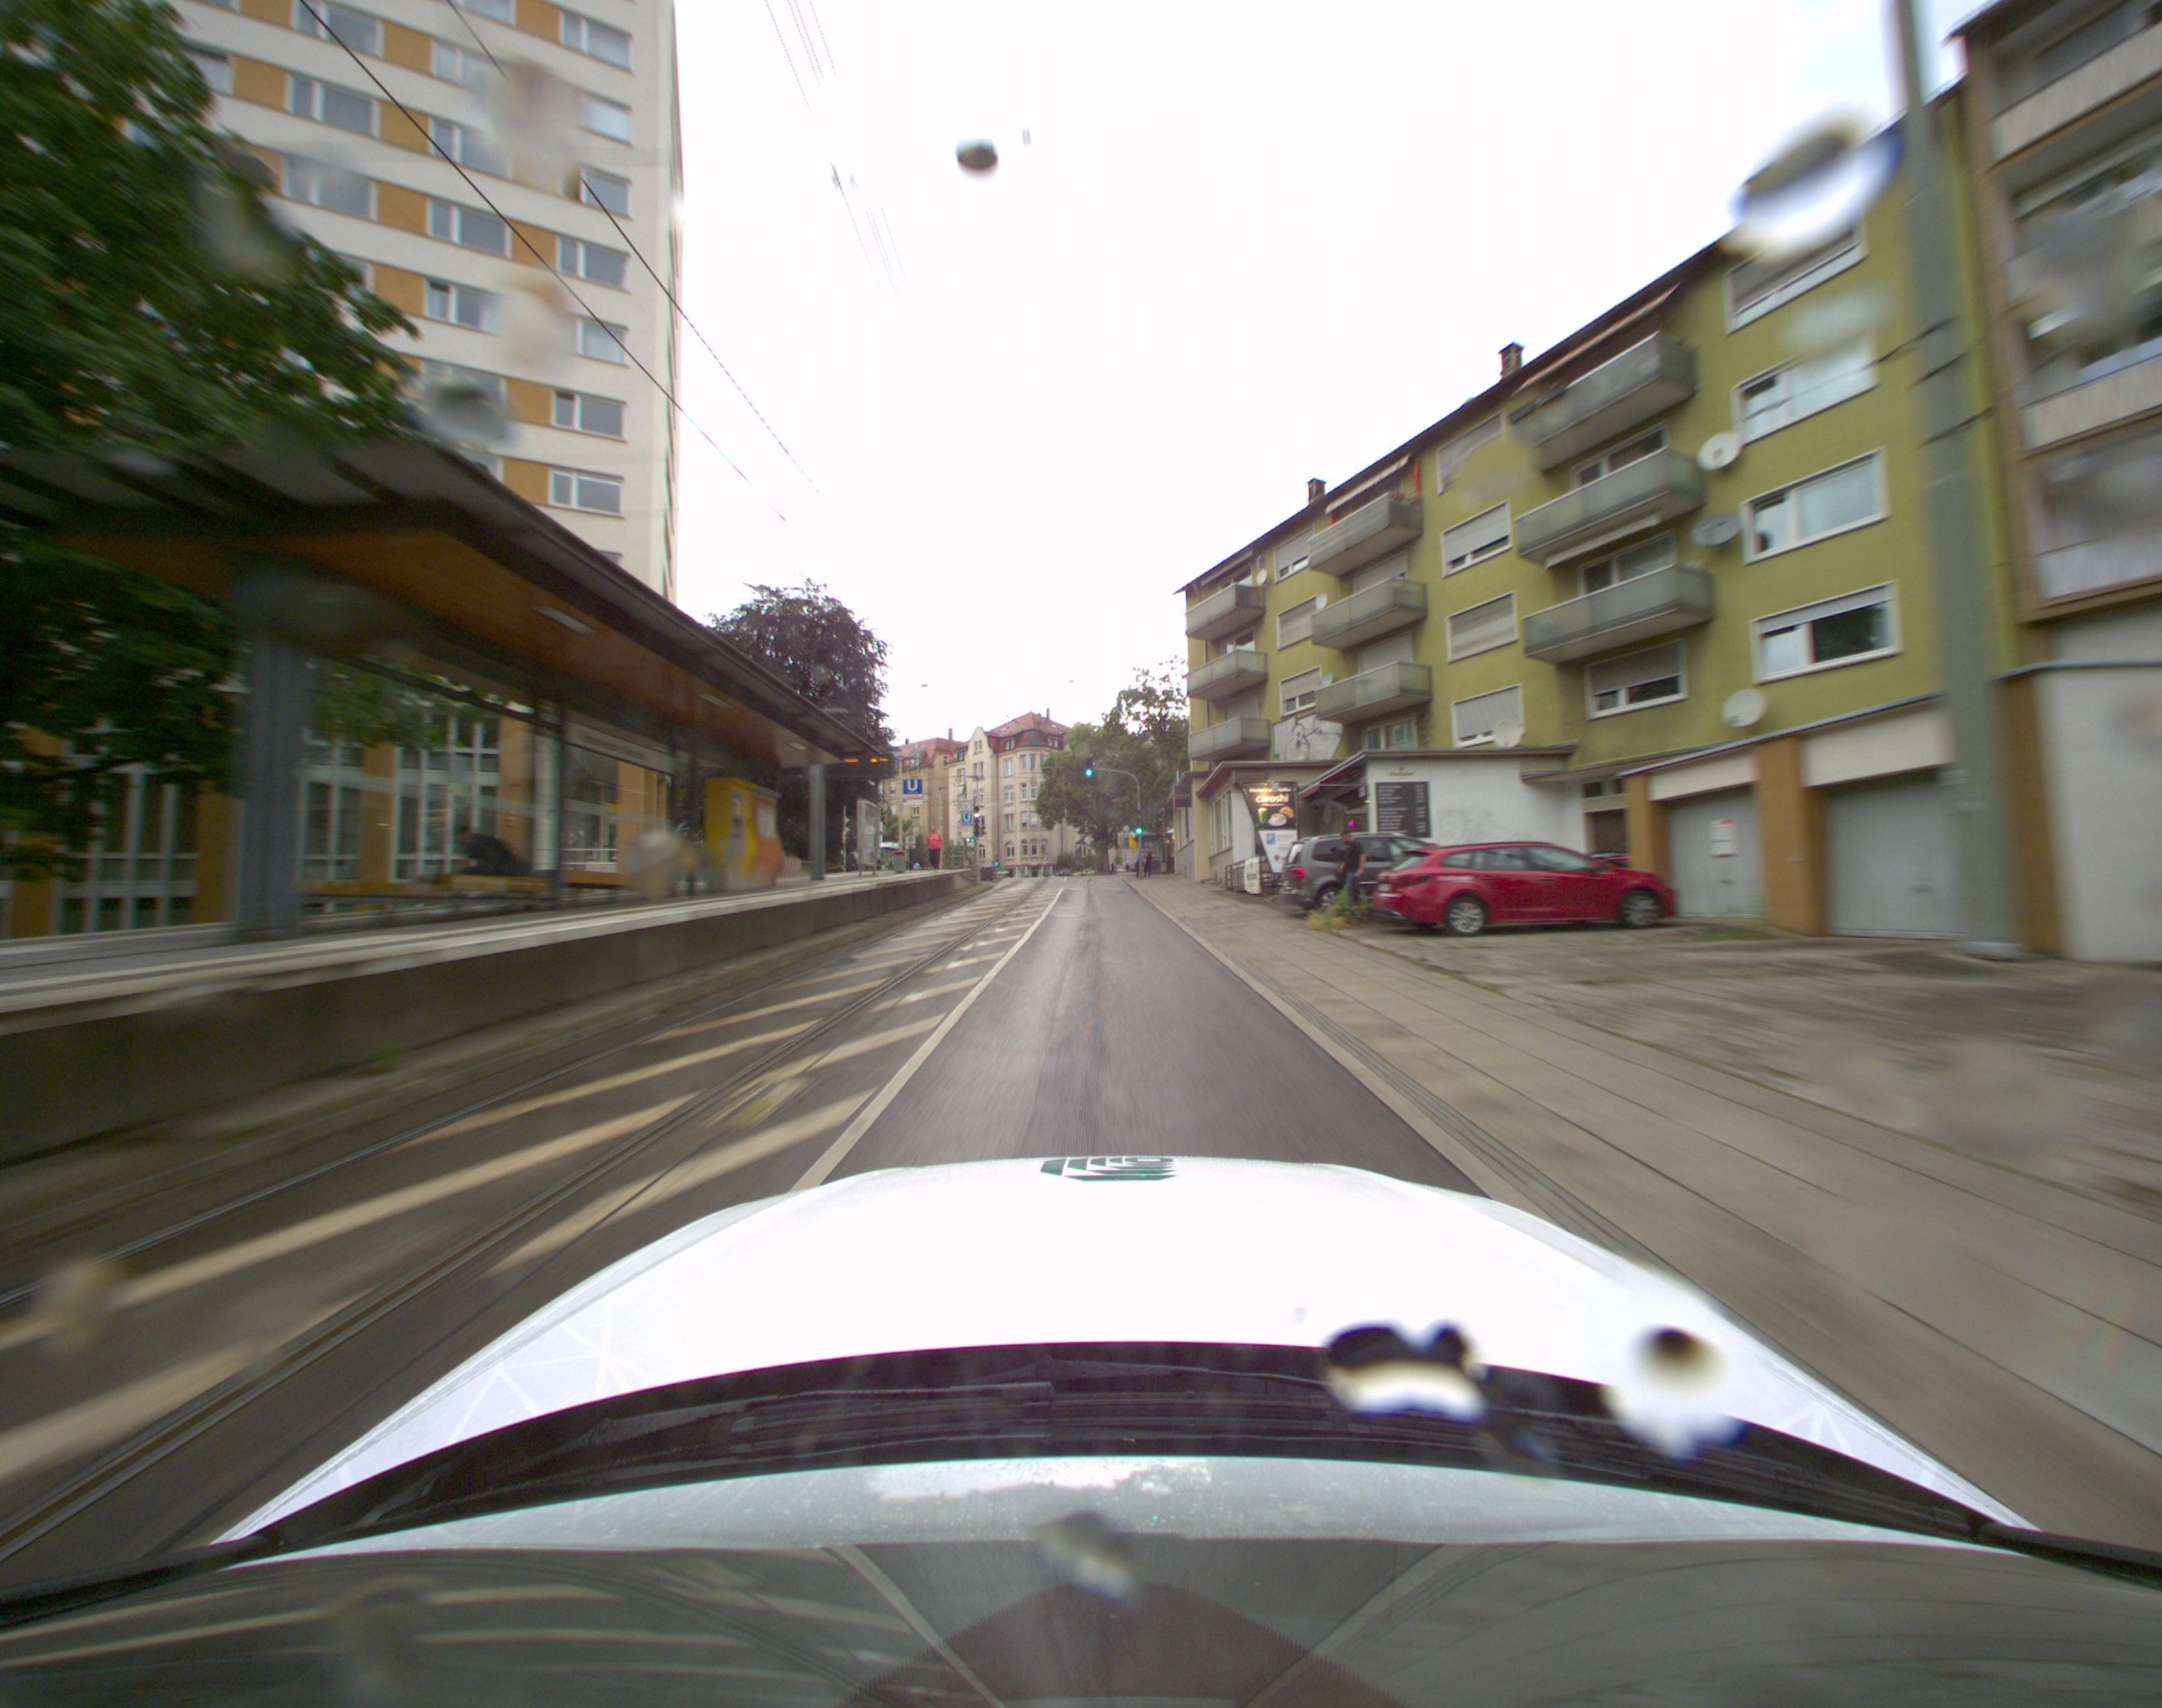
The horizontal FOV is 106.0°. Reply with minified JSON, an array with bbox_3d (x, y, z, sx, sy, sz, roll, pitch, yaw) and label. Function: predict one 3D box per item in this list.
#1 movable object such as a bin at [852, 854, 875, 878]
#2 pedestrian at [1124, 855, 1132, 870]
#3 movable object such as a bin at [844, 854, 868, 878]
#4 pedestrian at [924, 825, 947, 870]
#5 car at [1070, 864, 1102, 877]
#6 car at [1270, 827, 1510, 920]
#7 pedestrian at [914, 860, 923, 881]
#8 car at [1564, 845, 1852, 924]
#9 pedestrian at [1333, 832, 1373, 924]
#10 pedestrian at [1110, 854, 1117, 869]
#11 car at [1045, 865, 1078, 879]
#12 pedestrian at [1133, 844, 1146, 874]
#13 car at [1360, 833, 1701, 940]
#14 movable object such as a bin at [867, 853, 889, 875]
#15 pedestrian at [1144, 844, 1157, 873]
[{"bbox_3d":[-13.661,0.737,51.130,1.017,1.434,1.356,1,0,2],"label":"movable object such as a bin"},{"bbox_3d":[4.907,0.882,85.249,0.547,1.629,0.595,1,0,-33],"label":"pedestrian"},{"bbox_3d":[-13.701,0.735,49.640,1.017,1.434,1.305,1,0,2],"label":"movable object such as a bin"},{"bbox_3d":[-5.191,-0.231,29.105,0.669,1.548,0.771,-1,0,0],"label":"pedestrian"},{"bbox_3d":[0.626,2.057,101.491,3.690,1.508,1.717,-2,-1,-42],"label":"car"},{"bbox_3d":[6.321,0.395,17.019,4.311,1.674,1.782,-2,0,2],"label":"car"},{"bbox_3d":[-13.339,1.370,66.825,0.567,1.684,0.773,-2,-2,-7],"label":"pedestrian"},{"bbox_3d":[12.872,0.649,16.950,4.495,1.401,1.781,-2,-3,2],"label":"car"},{"bbox_3d":[5.270,0.454,15.809,0.602,1.714,0.724,-3,0,14],"label":"pedestrian"},{"bbox_3d":[3.411,0.837,85.953,0.599,1.566,0.544,1,0,-10],"label":"pedestrian"},{"bbox_3d":[-2.330,2.176,98.647,3.690,1.508,1.717,-2,-1,-41],"label":"car"},{"bbox_3d":[3.184,0.278,44.103,0.586,1.554,0.650,-3,0,0],"label":"pedestrian"},{"bbox_3d":[7.144,0.497,13.264,4.554,1.437,1.765,-2,0,0],"label":"car"},{"bbox_3d":[-13.557,0.684,54.500,1.017,1.434,1.428,1,0,2],"label":"movable object such as a bin"},{"bbox_3d":[3.791,0.240,44.427,0.544,1.554,0.558,-3,0,-2],"label":"pedestrian"}]
